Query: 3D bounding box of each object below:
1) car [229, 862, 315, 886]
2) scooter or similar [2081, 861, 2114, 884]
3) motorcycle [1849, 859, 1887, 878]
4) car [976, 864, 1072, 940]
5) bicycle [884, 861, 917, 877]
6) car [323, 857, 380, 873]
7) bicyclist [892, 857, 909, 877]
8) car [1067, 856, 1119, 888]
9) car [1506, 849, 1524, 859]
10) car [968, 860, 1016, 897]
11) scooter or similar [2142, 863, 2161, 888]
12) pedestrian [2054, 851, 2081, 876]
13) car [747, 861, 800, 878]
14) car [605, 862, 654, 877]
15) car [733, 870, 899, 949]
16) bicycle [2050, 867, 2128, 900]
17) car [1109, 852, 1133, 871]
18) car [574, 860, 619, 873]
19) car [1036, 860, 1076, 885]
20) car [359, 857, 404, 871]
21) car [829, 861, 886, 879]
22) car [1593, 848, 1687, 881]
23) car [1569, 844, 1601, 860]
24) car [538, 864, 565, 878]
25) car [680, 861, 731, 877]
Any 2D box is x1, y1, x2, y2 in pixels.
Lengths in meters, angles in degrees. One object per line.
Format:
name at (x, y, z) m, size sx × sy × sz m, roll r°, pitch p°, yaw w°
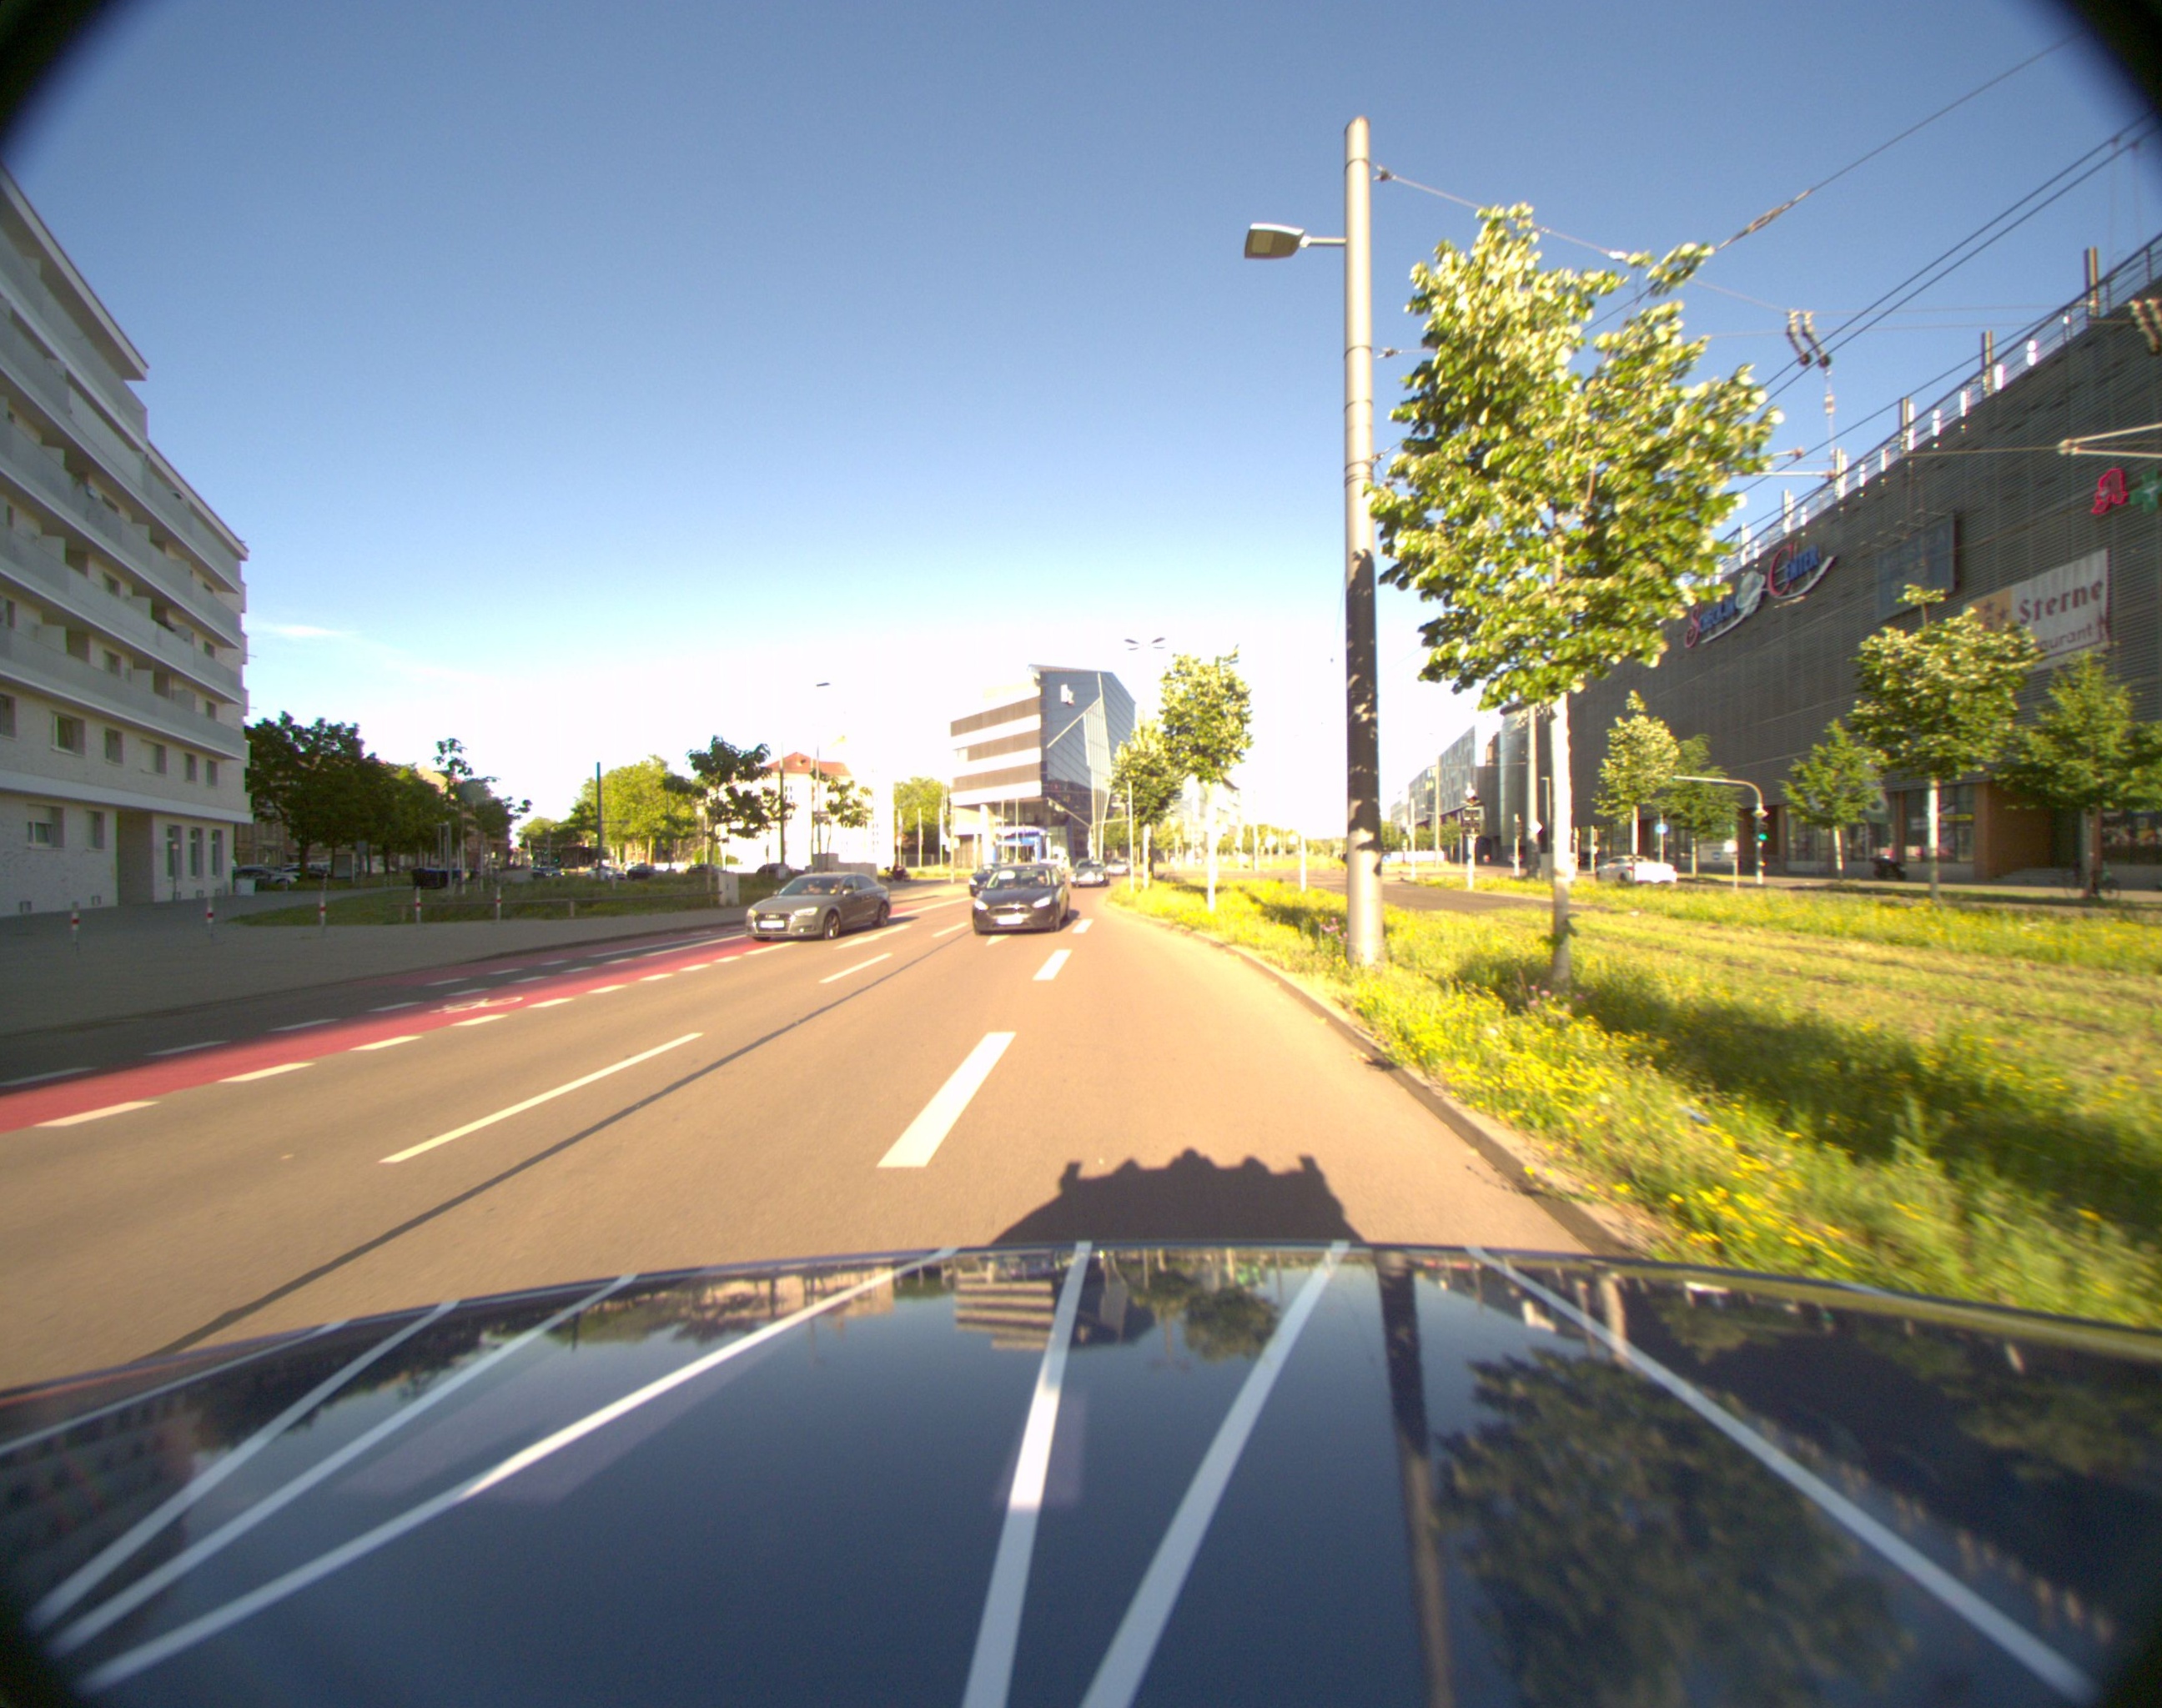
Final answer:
car at (-61.640, 1.504, 57.980) m, size 1.996 × 1.707 × 4.004 m, roll -1°, pitch 0°, yaw 13°
scooter or similar at (39.056, 0.703, 29.197) m, size 0.290 × 0.888 × 0.902 m, roll 0°, pitch 1°, yaw 18°
motorcycle at (41.188, 0.739, 39.793) m, size 0.427 × 0.914 × 2.027 m, roll -1°, pitch 0°, yaw 16°
car at (-1.164, 0.985, 17.232) m, size 1.689 × 1.425 × 4.153 m, roll -1°, pitch 0°, yaw 2°
bicycle at (-14.398, 1.199, 60.691) m, size 2.368 × 1.304 × 0.952 m, roll -1°, pitch 1°, yaw 14°
car at (-83.893, 1.273, 87.445) m, size 1.995 × 1.707 × 4.269 m, roll -1°, pitch 0°, yaw 24°
bicyclist at (-14.413, 1.041, 60.707) m, size 1.006 × 1.598 × 0.880 m, roll -1°, pitch 1°, yaw 14°
car at (0.705, 0.927, 40.550) m, size 1.747 × 1.496 × 3.885 m, roll -3°, pitch 0°, yaw 17°
car at (59.404, -0.047, 104.023) m, size 1.688 × 1.364 × 3.596 m, roll -1°, pitch 0°, yaw 22°
car at (-3.884, 1.038, 33.815) m, size 1.736 × 1.437 × 3.999 m, roll -1°, pitch 0°, yaw -1°
scooter or similar at (37.985, 0.760, 26.626) m, size 0.291 × 0.888 × 0.899 m, roll -1°, pitch 1°, yaw -33°
pedestrian at (41.477, 0.415, 31.954) m, size 0.565 × 1.032 × 0.425 m, roll -1°, pitch 1°, yaw 23°
car at (-27.184, 1.351, 67.255) m, size 3.991 × 1.414 × 2.003 m, roll -1°, pitch 1°, yaw 20°
car at (-44.040, 1.520, 74.062) m, size 4.514 × 1.414 × 2.003 m, roll -1°, pitch 1°, yaw 27°
car at (-5.802, 1.159, 17.227) m, size 1.713 × 1.433 × 4.114 m, roll -1°, pitch 0°, yaw 10°
bicycle at (30.317, 0.876, 22.887) m, size 0.386 × 0.918 × 1.773 m, roll -1°, pitch 0°, yaw 14°
car at (3.284, 0.633, 62.398) m, size 1.619 × 1.421 × 3.769 m, roll -2°, pitch 0°, yaw 8°
car at (-48.807, 1.275, 76.534) m, size 3.990 × 1.237 × 2.003 m, roll -1°, pitch 1°, yaw 26°
car at (-1.524, 1.118, 47.339) m, size 1.437 × 1.437 × 4.004 m, roll -1°, pitch 0°, yaw 14°
car at (-94.261, 1.327, 102.405) m, size 1.995 × 1.805 × 4.006 m, roll -1°, pitch 1°, yaw 23°
car at (-19.130, 1.349, 65.007) m, size 4.285 × 1.414 × 2.003 m, roll -1°, pitch 1°, yaw 20°
car at (24.650, 0.422, 33.706) m, size 1.808 × 1.320 × 4.409 m, roll 0°, pitch 1°, yaw 13°
car at (53.277, -0.217, 80.422) m, size 1.582 × 1.521 × 3.754 m, roll -2°, pitch 1°, yaw 13°
car at (-57.080, 1.814, 81.856) m, size 1.938 × 1.368 × 3.989 m, roll -1°, pitch 1°, yaw -42°
car at (-34.556, 1.359, 69.884) m, size 3.991 × 1.414 × 2.003 m, roll -1°, pitch 1°, yaw 20°
